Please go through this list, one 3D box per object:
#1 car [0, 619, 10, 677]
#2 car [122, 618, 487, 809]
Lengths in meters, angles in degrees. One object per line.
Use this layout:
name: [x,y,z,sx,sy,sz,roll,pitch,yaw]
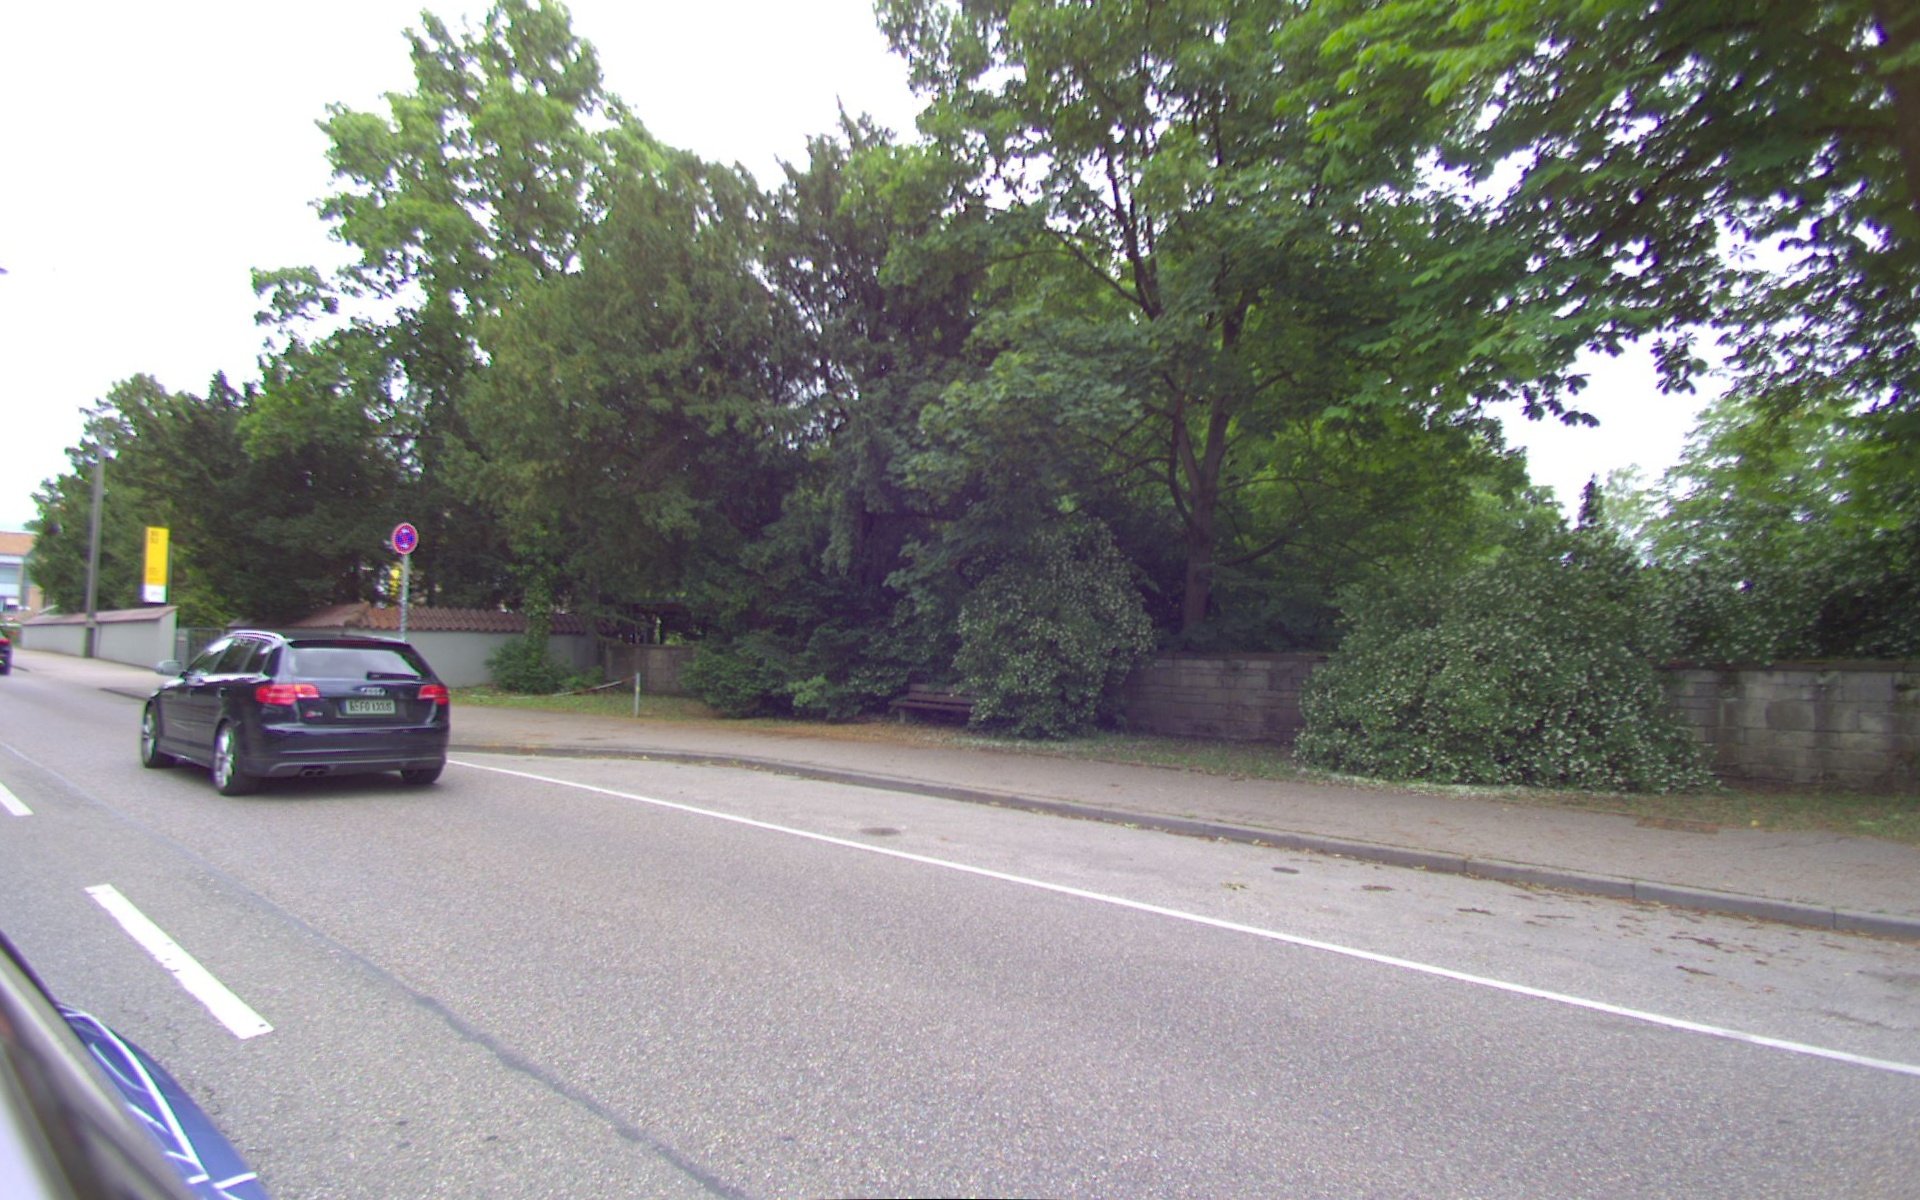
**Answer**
car: [-29.605,1.350,29.810,4.304,1.670,1.840,-1,-5,41]
car: [-6.482,0.974,9.835,4.109,1.464,1.840,-1,-5,41]
